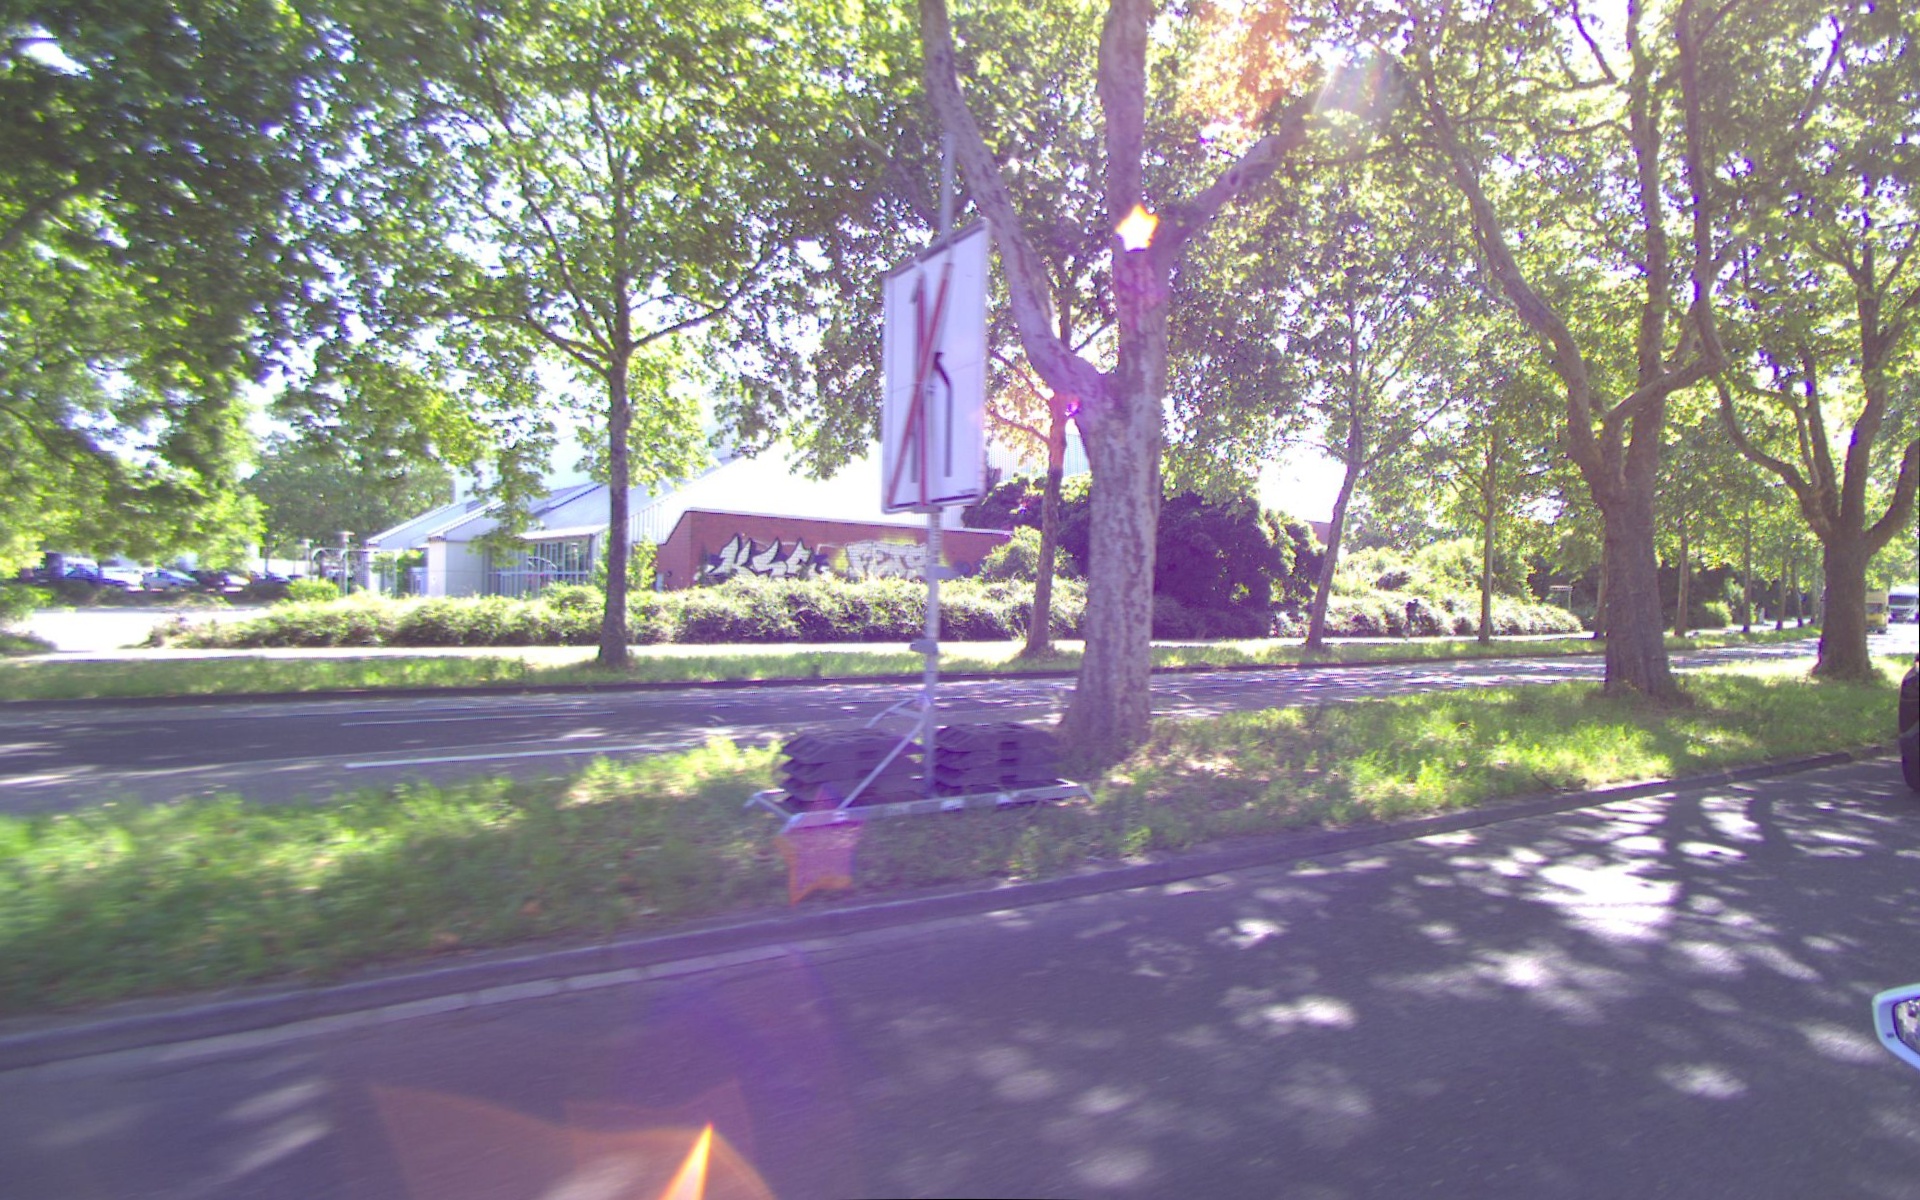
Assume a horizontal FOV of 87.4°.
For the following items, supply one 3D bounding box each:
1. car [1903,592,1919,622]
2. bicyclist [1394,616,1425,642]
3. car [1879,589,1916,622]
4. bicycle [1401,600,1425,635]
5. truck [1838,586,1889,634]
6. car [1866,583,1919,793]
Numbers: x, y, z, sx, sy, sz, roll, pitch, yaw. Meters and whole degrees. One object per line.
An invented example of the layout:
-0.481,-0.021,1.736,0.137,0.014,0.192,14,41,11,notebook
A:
114.635,0.855,120.076,6.717,3.480,2.039,1,0,-41,car
18.418,1.192,41.117,1.409,1.027,0.426,1,0,-32,bicyclist
105.984,0.627,113.513,7.046,3.496,2.427,0,3,-43,car
18.581,0.718,41.211,0.944,1.403,0.426,1,1,-32,bicycle
70.592,0.744,78.432,7.051,3.496,2.426,0,3,-45,truck
10.041,0.764,8.885,4.386,1.719,1.862,1,0,-32,car
